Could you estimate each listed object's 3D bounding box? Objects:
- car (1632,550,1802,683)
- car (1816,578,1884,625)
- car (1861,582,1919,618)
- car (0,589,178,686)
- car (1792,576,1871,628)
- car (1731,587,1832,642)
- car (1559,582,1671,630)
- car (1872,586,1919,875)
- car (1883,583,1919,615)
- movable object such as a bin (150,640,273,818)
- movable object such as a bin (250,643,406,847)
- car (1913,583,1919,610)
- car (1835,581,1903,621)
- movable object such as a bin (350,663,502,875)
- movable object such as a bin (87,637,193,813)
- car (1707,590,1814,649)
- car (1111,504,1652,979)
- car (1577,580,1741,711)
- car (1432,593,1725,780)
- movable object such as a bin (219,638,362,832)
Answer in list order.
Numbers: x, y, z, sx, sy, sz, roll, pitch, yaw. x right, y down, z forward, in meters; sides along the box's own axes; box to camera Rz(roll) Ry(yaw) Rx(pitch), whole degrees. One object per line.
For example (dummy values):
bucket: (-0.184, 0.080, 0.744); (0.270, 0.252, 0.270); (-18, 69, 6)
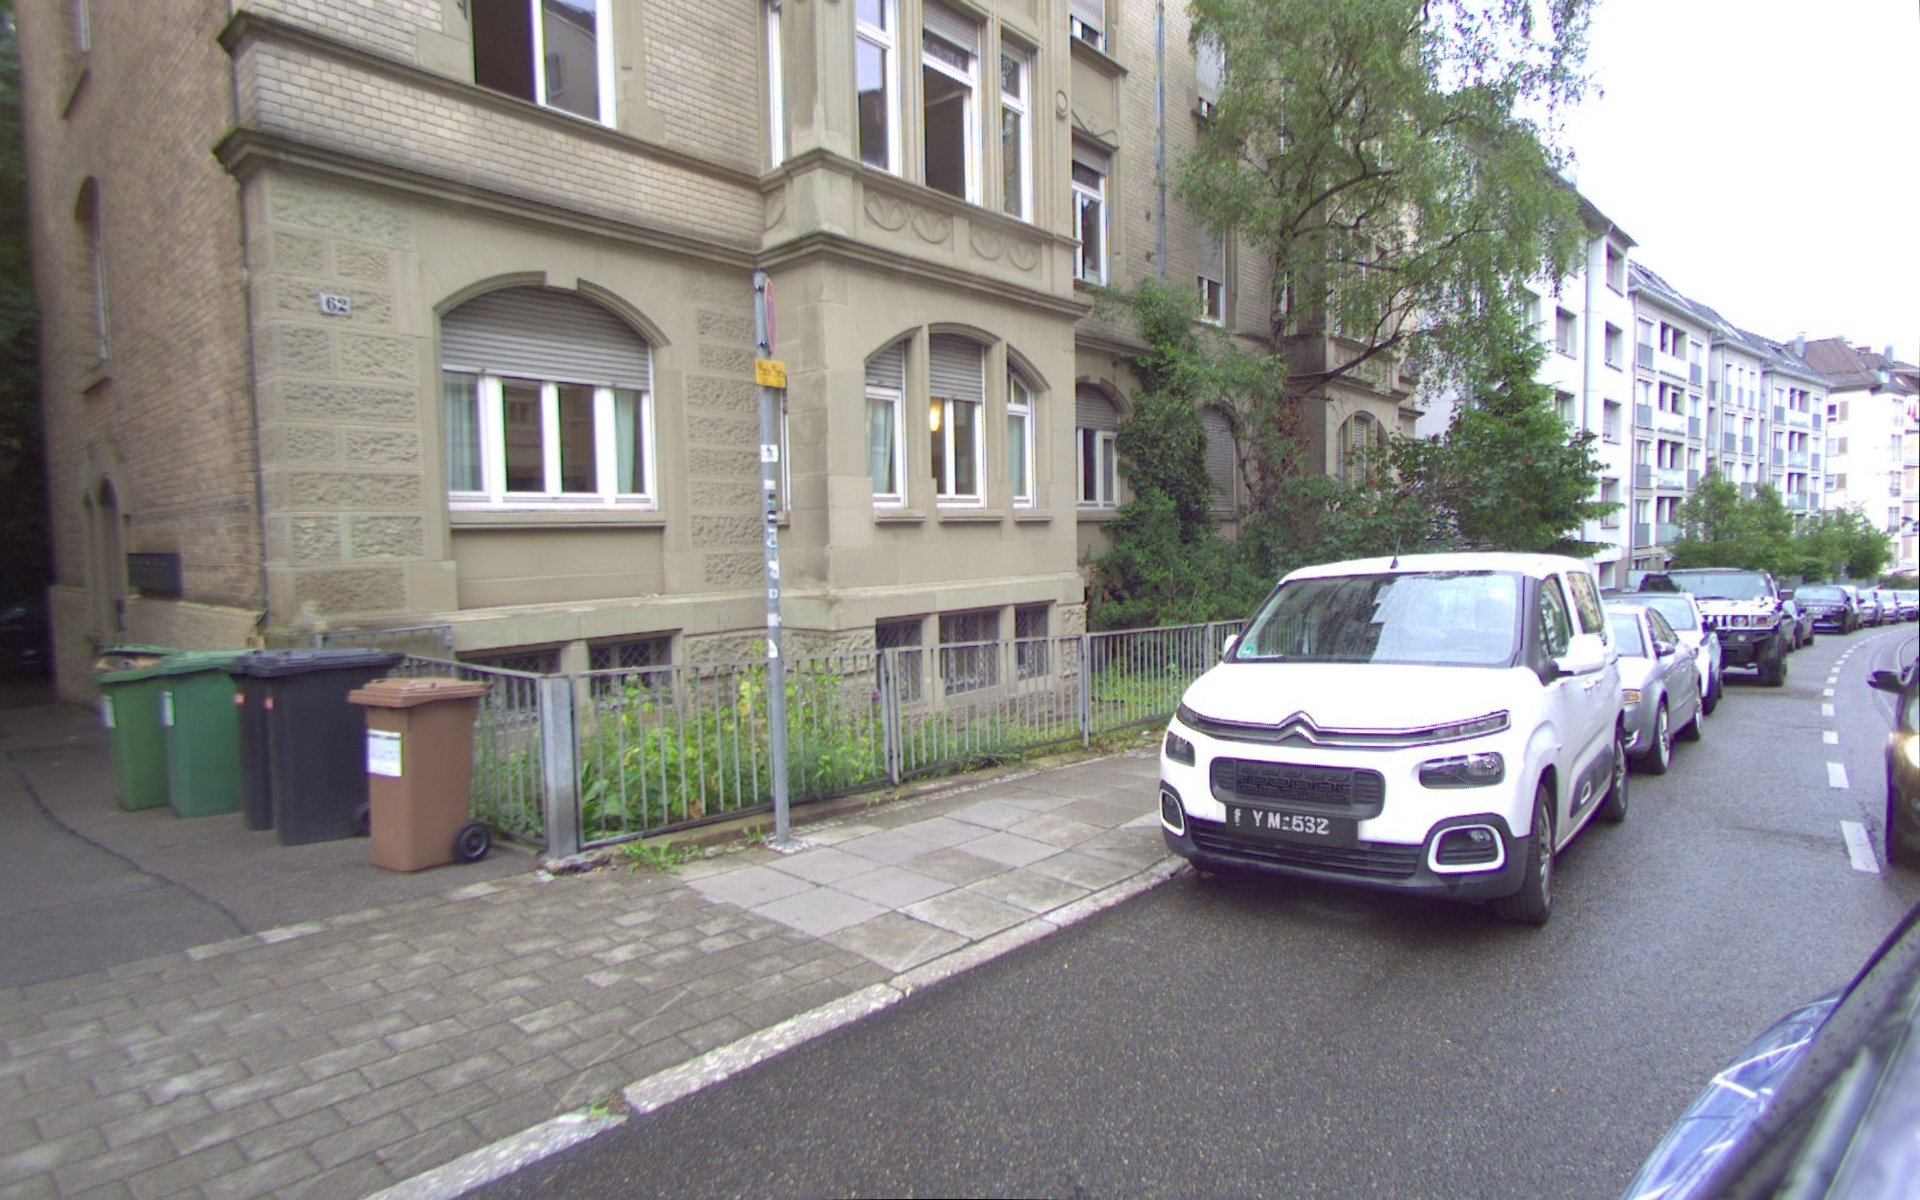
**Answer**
car: (13.781, 0.230, 18.269); (2.126, 2.039, 5.272); (-1, 0, 40)
car: (37.173, 0.026, 42.220); (4.398, 1.817, 1.780); (-1, 2, -44)
car: (45.609, -0.028, 49.586); (4.587, 1.648, 1.834); (-1, 2, -44)
car: (-17.199, 0.669, 18.808); (3.933, 1.529, 1.796); (7, -1, -45)
car: (32.992, 0.023, 38.259); (1.943, 1.817, 4.743); (1, 2, 45)
car: (23.660, 0.353, 29.083); (4.535, 1.455, 1.795); (-1, 1, -45)
car: (20.771, 0.175, 32.032); (4.079, 1.444, 1.816); (0, 0, -39)
car: (6.755, 0.671, 6.140); (1.734, 1.472, 3.940); (2, 2, 41)
car: (49.797, -0.077, 53.096); (1.975, 1.604, 4.495); (2, 2, 43)
movable object such as a bin: (-4.928, 0.819, 6.663); (0.495, 1.075, 0.547); (-3, -1, 41)
movable object such as a bin: (-3.601, 0.782, 5.765); (0.653, 1.043, 0.528); (-1, -1, -43)
car: (57.217, -0.202, 58.983); (4.704, 1.534, 1.862); (-1, 2, -40)
car: (41.440, 0.014, 46.105); (4.608, 1.676, 1.834); (-1, 2, -43)
movable object such as a bin: (-2.677, 0.814, 5.079); (0.425, 0.931, 0.529); (3, 2, 38)
movable object such as a bin: (-5.606, 0.826, 6.920); (0.518, 1.116, 0.471); (-3, -1, 42)
car: (20.404, 0.437, 25.745); (3.819, 1.355, 1.679); (-1, 1, -44)
car: (2.834, 0.514, 6.096); (1.795, 1.787, 4.399); (-1, 0, 40)
car: (9.721, 0.532, 13.983); (1.557, 1.565, 3.533); (-1, 0, 40)
car: (6.312, 0.664, 10.076); (1.747, 1.418, 4.411); (-1, 0, 41)
movable object such as a bin: (-4.078, 0.786, 6.169); (0.498, 1.075, 0.600); (-3, -1, 41)
